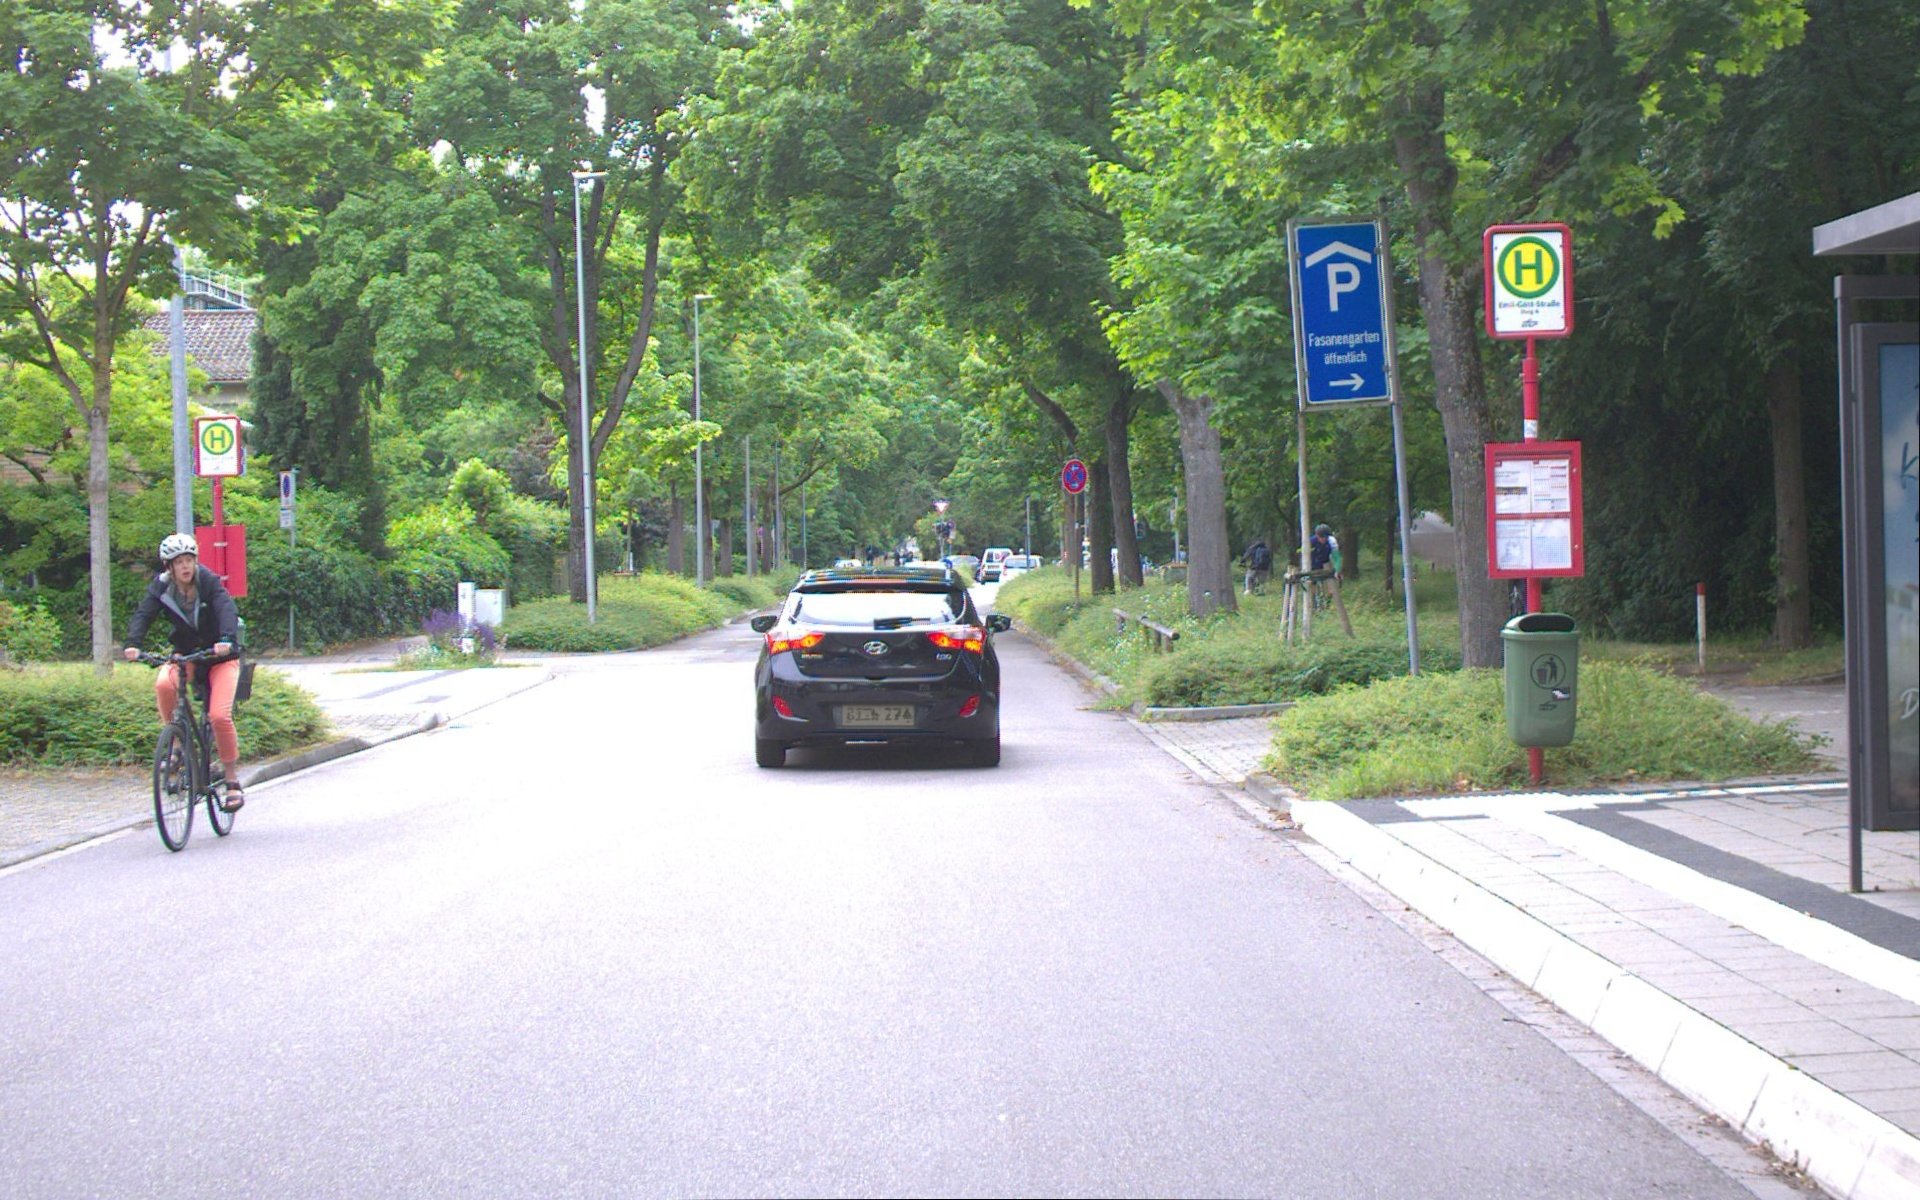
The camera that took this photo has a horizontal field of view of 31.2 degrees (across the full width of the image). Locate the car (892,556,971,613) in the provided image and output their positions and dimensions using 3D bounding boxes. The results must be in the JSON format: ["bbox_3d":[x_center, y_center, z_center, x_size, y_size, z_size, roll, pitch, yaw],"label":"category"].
[{"bbox_3d":[-0.790,-0.437,92.640,1.864,1.457,4.117,-2,1,-3],"label":"car"}]

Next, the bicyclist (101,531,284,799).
[{"bbox_3d":[-4.352,0.351,19.555,0.784,1.464,0.937,-2,1,-1],"label":"bicyclist"}]

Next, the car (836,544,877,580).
[{"bbox_3d":[-4.344,-1.590,143.441,1.562,1.432,4.216,-2,1,-3],"label":"car"}]

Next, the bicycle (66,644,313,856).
[{"bbox_3d":[-4.341,0.814,19.575,0.794,1.022,2.564,-2,1,0],"label":"bicycle"}]

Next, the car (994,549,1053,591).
[{"bbox_3d":[2.320,-1.122,126.001,1.899,1.481,4.000,-1,1,-2],"label":"car"}]

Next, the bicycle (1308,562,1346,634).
[{"bbox_3d":[5.246,-0.036,49.084,0.491,0.971,1.944,-2,1,6],"label":"bicycle"}]

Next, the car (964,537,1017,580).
[{"bbox_3d":[1.519,-2.070,171.041,1.993,2.007,4.001,-2,1,-8],"label":"car"}]

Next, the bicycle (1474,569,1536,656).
[{"bbox_3d":[6.519,0.136,41.195,0.607,0.971,1.944,-2,1,6],"label":"bicycle"}]

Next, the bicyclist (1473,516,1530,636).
[{"bbox_3d":[6.471,-0.291,41.082,0.597,1.404,0.758,-2,1,7],"label":"bicyclist"}]

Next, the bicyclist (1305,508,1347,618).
[{"bbox_3d":[5.253,-0.538,49.274,0.535,1.544,0.758,-2,1,7],"label":"bicyclist"}]

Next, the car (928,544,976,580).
[{"bbox_3d":[-0.366,-1.657,149.176,1.993,1.481,4.000,-2,1,0],"label":"car"}]

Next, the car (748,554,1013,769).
[{"bbox_3d":[-0.609,0.406,26.084,1.846,1.457,3.828,-1,1,-1],"label":"car"}]
